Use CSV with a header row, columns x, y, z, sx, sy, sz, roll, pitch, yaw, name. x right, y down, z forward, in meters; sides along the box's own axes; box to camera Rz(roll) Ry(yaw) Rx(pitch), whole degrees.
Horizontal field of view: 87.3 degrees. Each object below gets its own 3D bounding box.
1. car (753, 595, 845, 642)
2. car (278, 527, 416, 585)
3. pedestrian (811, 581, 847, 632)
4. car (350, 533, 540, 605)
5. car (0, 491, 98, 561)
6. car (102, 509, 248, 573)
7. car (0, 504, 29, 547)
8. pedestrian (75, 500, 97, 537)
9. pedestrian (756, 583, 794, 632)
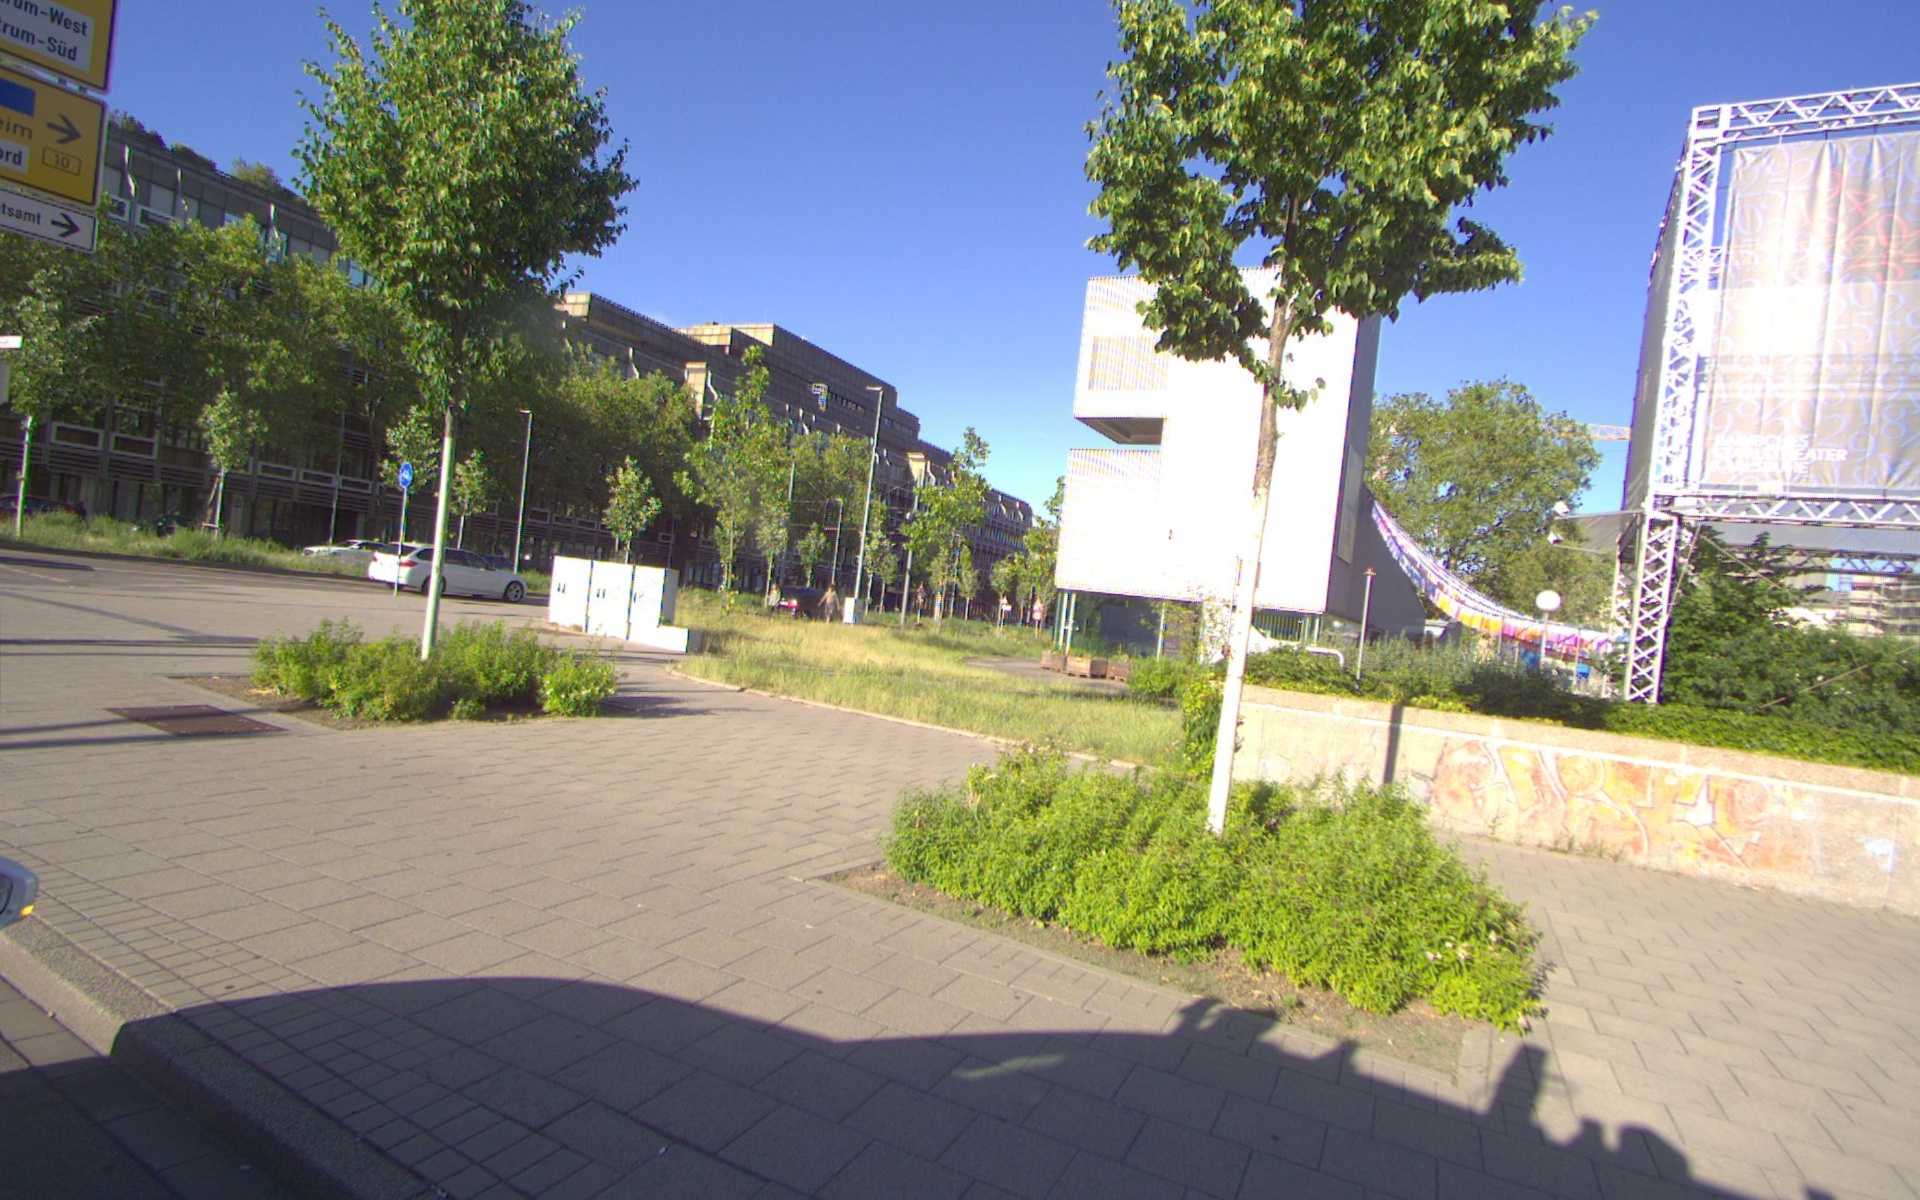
x,y,z,sx,sy,sz,roll,pitch,yaw,name
-7.413,0.896,46.810,1.963,1.780,4.485,8,0,23,car
-30.678,-2.177,50.584,2.062,2.036,5.455,6,-2,29,car
-4.793,0.246,36.747,0.925,1.750,0.695,7,1,18,pedestrian
-15.079,-0.845,29.767,1.964,1.546,4.700,7,-1,24,car
-33.316,-2.705,35.374,1.966,2.037,3.997,6,-2,29,car
-34.114,-2.524,43.881,1.965,2.036,4.458,7,-2,27,car
-37.246,-3.037,36.944,1.836,1.525,3.997,7,-2,29,car
-42.093,-3.939,48.448,0.528,1.690,0.541,7,1,29,pedestrian
-6.801,0.278,37.013,0.925,1.650,0.803,7,1,18,pedestrian
